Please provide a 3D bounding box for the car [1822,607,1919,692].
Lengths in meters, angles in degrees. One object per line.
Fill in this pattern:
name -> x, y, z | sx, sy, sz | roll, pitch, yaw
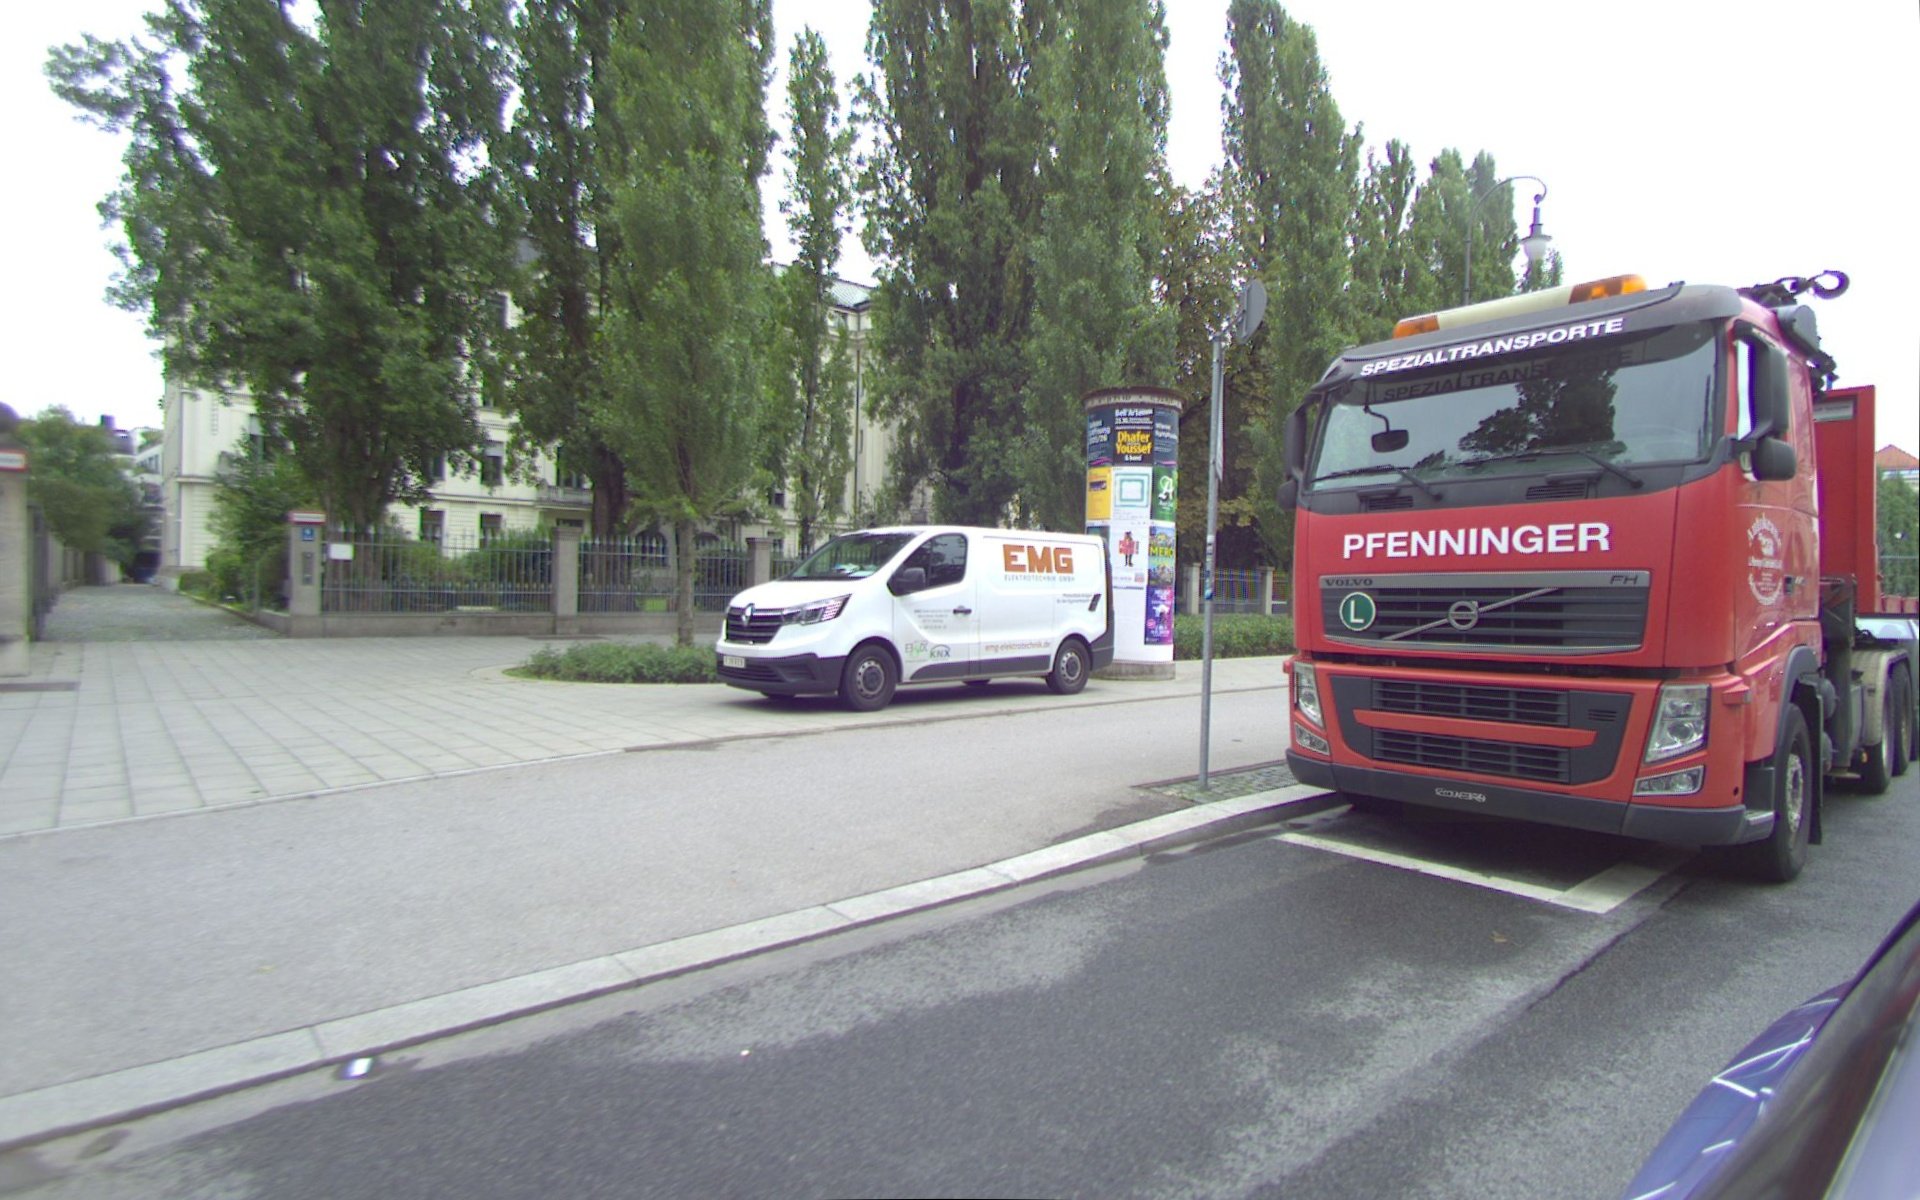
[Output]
car -> 16.985, 0.827, 18.102 | 4.293, 1.326, 1.739 | 0, 1, -41

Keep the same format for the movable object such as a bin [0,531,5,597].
movable object such as a bin -> -31.797, -1.177, 32.429 | 1.407, 2.167, 3.678 | 0, 1, -38

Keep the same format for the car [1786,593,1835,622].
car -> 58.936, 0.499, 70.107 | 4.236, 1.880, 1.889 | 0, 1, -40

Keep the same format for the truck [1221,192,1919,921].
truck -> 6.419, -0.218, 8.790 | 10.244, 3.149, 2.718 | 0, 1, -41

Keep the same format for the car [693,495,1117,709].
car -> -0.431, 0.024, 11.626 | 4.802, 1.969, 1.882 | 0, -1, -43

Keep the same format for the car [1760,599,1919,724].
car -> 12.684, 0.748, 14.056 | 4.144, 1.478, 1.790 | 0, 0, -42
